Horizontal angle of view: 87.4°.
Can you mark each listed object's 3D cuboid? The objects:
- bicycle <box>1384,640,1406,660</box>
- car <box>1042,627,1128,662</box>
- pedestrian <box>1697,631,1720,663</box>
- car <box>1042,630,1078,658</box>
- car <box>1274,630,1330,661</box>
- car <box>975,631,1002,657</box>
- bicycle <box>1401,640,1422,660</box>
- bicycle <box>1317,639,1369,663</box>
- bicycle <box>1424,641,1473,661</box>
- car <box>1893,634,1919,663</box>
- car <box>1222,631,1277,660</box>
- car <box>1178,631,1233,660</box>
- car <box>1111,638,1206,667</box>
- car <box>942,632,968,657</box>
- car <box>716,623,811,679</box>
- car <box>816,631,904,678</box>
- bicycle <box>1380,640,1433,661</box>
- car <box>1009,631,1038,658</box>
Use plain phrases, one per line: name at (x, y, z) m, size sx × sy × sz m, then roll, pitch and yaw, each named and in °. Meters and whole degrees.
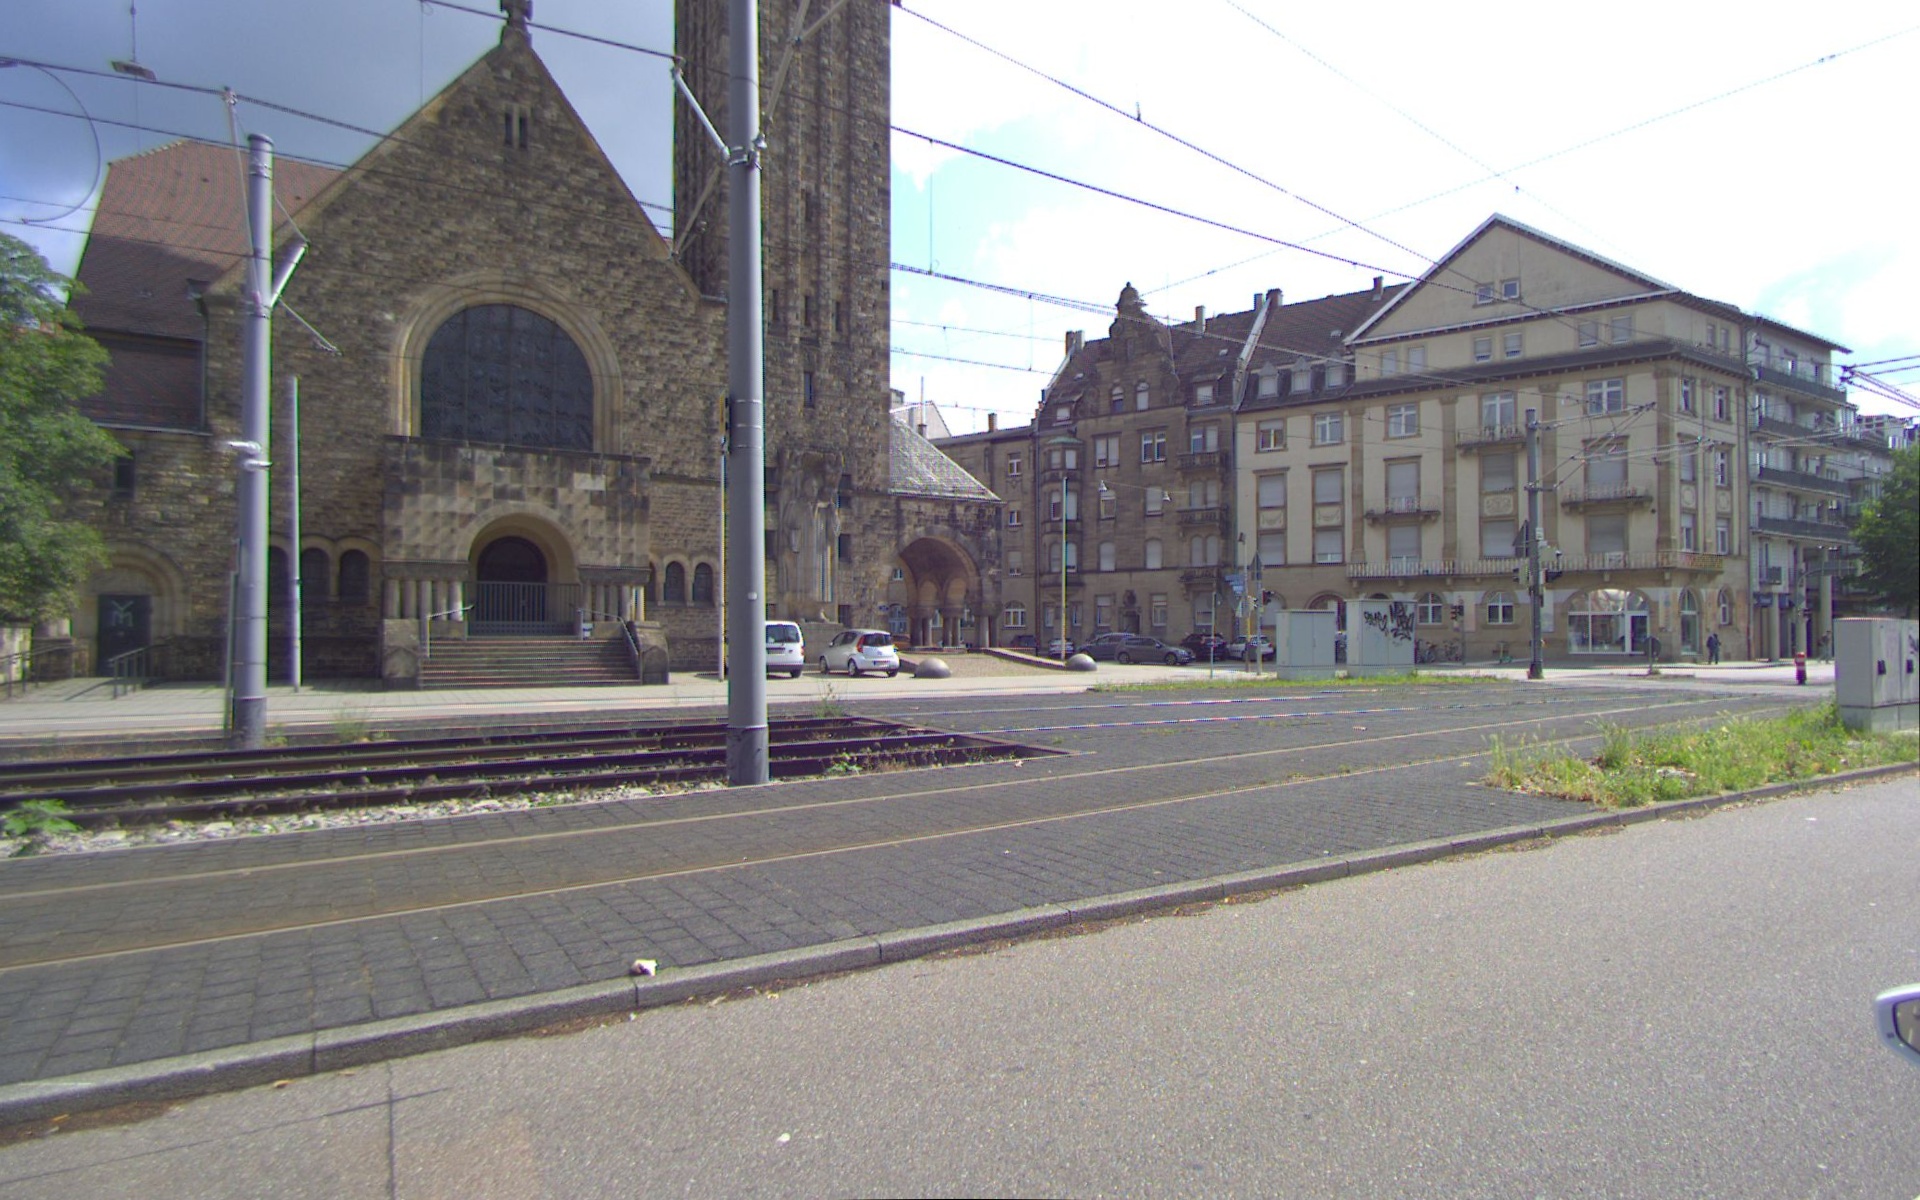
bicycle at (23.875, 2.713, 55.118) m, size 0.792 × 1.067 × 2.561 m, roll -1°, pitch -2°, yaw 30°
car at (7.435, 2.649, 60.018) m, size 4.727 × 2.040 × 1.994 m, roll -2°, pitch -2°, yaw 35°
pedestrian at (38.419, 2.390, 51.540) m, size 0.853 × 1.617 × 0.687 m, roll 1°, pitch -2°, yaw -34°
car at (6.532, 2.883, 66.134) m, size 1.960 × 1.760 × 4.001 m, roll 0°, pitch -2°, yaw 0°
car at (19.321, 2.573, 56.978) m, size 1.960 × 1.696 × 4.002 m, roll 0°, pitch -2°, yaw 3°
car at (1.933, 3.011, 69.280) m, size 1.617 × 1.718 × 3.859 m, roll 0°, pitch -2°, yaw -2°
bicycle at (24.592, 2.714, 54.669) m, size 0.792 × 1.067 × 2.561 m, roll -1°, pitch -2°, yaw 30°
bicycle at (21.223, 2.824, 55.750) m, size 0.982 × 1.270 × 3.312 m, roll 0°, pitch -2°, yaw -13°
bicycle at (26.067, 2.704, 53.588) m, size 2.526 × 1.067 × 0.803 m, roll 0°, pitch -2°, yaw -19°
car at (67.830, 3.399, 70.784) m, size 3.953 × 2.040 × 1.984 m, roll 1°, pitch -2°, yaw -30°
car at (16.950, 2.653, 59.026) m, size 1.768 × 1.661 × 3.998 m, roll 0°, pitch -2°, yaw -5°
car at (14.658, 2.692, 60.215) m, size 1.962 × 1.695 × 3.998 m, roll 0°, pitch -2°, yaw -5°
car at (10.076, 2.650, 51.230) m, size 4.497 × 1.455 × 1.700 m, roll -2°, pitch -2°, yaw 37°
car at (-0.393, 3.103, 70.929) m, size 1.686 × 1.706 × 4.000 m, roll 0°, pitch -2°, yaw -2°
car at (-6.643, 1.670, 33.692) m, size 1.874 × 1.771 × 3.848 m, roll 1°, pitch -2°, yaw -33°
car at (-3.484, 1.850, 34.685) m, size 1.834 × 1.522 × 3.249 m, roll 1°, pitch -2°, yaw -31°
bicycle at (23.643, 2.677, 53.226) m, size 2.522 × 1.067 × 0.681 m, roll -1°, pitch -2°, yaw 33°
car at (4.247, 2.959, 67.726) m, size 1.753 × 1.750 × 4.001 m, roll 0°, pitch -2°, yaw 0°
